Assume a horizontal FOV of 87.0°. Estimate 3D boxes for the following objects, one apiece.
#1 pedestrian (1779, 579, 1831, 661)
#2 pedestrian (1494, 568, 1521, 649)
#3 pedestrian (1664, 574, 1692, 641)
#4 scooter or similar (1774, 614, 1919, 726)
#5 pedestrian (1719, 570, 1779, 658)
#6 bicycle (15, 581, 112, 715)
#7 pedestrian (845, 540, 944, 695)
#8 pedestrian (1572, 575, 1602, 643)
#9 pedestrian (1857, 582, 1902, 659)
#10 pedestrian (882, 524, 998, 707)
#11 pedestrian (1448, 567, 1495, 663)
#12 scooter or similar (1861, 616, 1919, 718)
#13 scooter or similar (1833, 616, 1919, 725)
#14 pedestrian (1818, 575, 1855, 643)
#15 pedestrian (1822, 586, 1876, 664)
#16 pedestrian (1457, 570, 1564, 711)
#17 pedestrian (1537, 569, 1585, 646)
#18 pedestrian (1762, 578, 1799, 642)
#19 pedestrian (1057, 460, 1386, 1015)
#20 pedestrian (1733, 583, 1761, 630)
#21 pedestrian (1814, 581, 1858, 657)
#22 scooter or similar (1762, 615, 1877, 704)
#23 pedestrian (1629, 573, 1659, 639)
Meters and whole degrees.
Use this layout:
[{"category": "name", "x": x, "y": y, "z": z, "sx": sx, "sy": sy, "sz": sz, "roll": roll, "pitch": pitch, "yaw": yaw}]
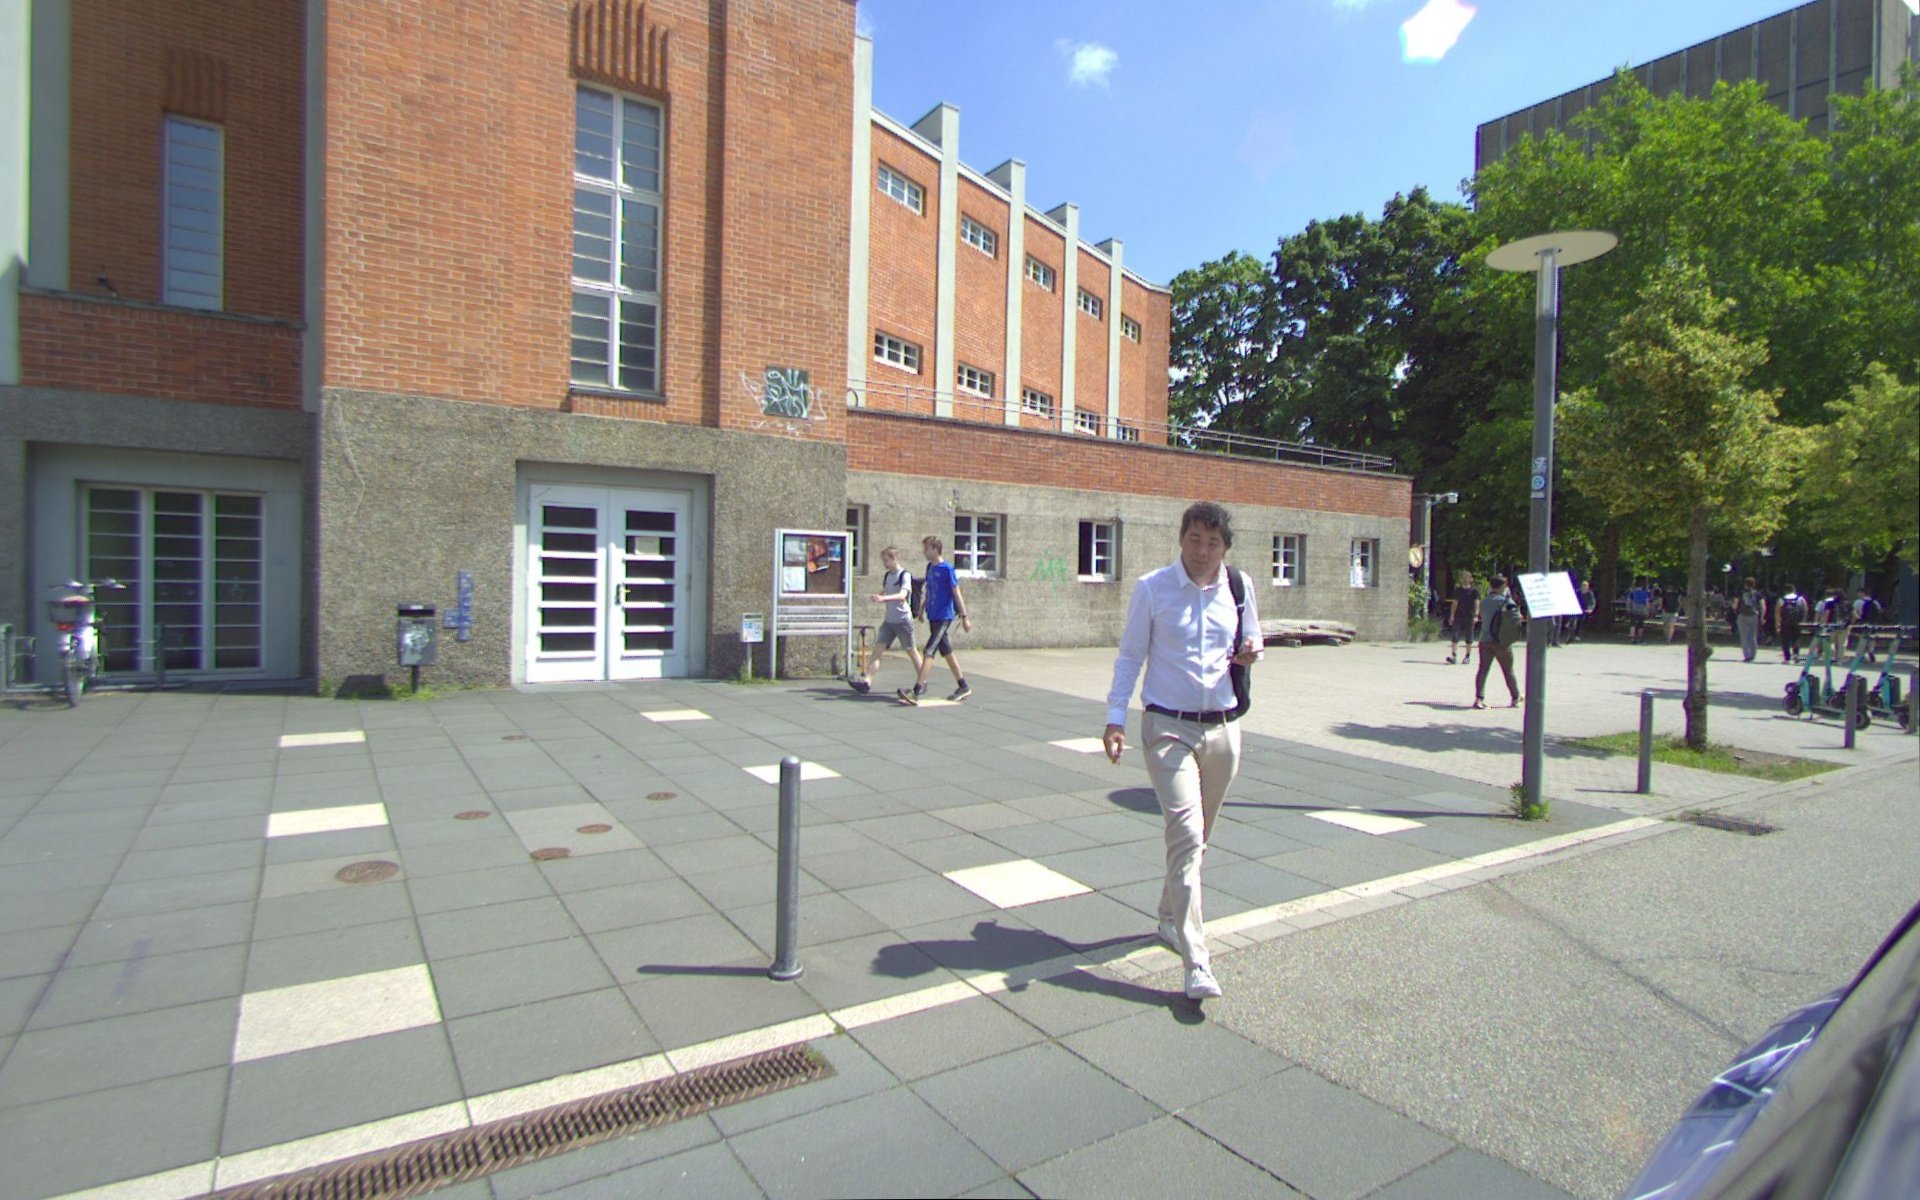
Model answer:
[{"category": "pedestrian", "x": 19.290, "y": 0.432, "z": 23.117, "sx": 0.776, "sy": 1.813, "sz": 0.706, "roll": 2, "pitch": 1, "yaw": 33}, {"category": "pedestrian", "x": 13.480, "y": 0.209, "z": 24.927, "sx": 0.560, "sy": 1.954, "sz": 0.881, "roll": 0, "pitch": -2, "yaw": 27}, {"category": "pedestrian", "x": 19.760, "y": 0.199, "z": 27.843, "sx": 0.539, "sy": 1.816, "sz": 0.635, "roll": 2, "pitch": 1, "yaw": 38}, {"category": "scooter or similar", "x": 10.913, "y": 0.825, "z": 12.507, "sx": 0.565, "sy": 1.245, "sz": 1.356, "roll": 2, "pitch": 1, "yaw": 1}, {"category": "pedestrian", "x": 18.441, "y": 0.310, "z": 23.686, "sx": 0.976, "sy": 1.970, "sz": 0.966, "roll": 2, "pitch": 1, "yaw": 34}, {"category": "bicycle", "x": -8.510, "y": 0.400, "z": 9.657, "sx": 0.448, "sy": 1.124, "sz": 1.937, "roll": 1, "pitch": 1, "yaw": -34}, {"category": "pedestrian", "x": -0.760, "y": 0.180, "z": 11.826, "sx": 0.985, "sy": 1.728, "sz": 0.586, "roll": -1, "pitch": 2, "yaw": -42}, {"category": "pedestrian", "x": 16.963, "y": 0.246, "z": 27.394, "sx": 0.664, "sy": 1.788, "sz": 0.789, "roll": 1, "pitch": -1, "yaw": 31}, {"category": "pedestrian", "x": 21.750, "y": 0.475, "z": 23.943, "sx": 0.618, "sy": 1.760, "sz": 0.766, "roll": 2, "pitch": 1, "yaw": 33}, {"category": "pedestrian", "x": -0.212, "y": 0.146, "z": 11.172, "sx": 1.091, "sy": 1.913, "sz": 0.665, "roll": -1, "pitch": 2, "yaw": -41}, {"category": "pedestrian", "x": 9.836, "y": 0.271, "z": 19.455, "sx": 0.584, "sy": 1.799, "sz": 0.787, "roll": 2, "pitch": 2, "yaw": 43}, {"category": "scooter or similar", "x": 12.413, "y": 0.866, "z": 12.970, "sx": 0.565, "sy": 1.248, "sz": 1.264, "roll": 2, "pitch": 1, "yaw": 1}, {"category": "scooter or similar", "x": 11.689, "y": 0.858, "z": 12.630, "sx": 0.565, "sy": 1.259, "sz": 1.143, "roll": 2, "pitch": 1, "yaw": 1}, {"category": "pedestrian", "x": 24.738, "y": 0.240, "z": 28.574, "sx": 0.634, "sy": 1.893, "sz": 0.532, "roll": 2, "pitch": 1, "yaw": 29}, {"category": "pedestrian", "x": 20.139, "y": 0.546, "z": 22.943, "sx": 0.745, "sy": 1.694, "sz": 0.836, "roll": 2, "pitch": 1, "yaw": 32}, {"category": "pedestrian", "x": 6.983, "y": 0.475, "z": 12.844, "sx": 1.059, "sy": 1.696, "sz": 0.785, "roll": 0, "pitch": 2, "yaw": -36}, {"category": "pedestrian", "x": 15.331, "y": 0.190, "z": 25.822, "sx": 0.657, "sy": 1.911, "sz": 0.972, "roll": 1, "pitch": -2, "yaw": 2}, {"category": "pedestrian", "x": 22.661, "y": 0.275, "z": 27.964, "sx": 0.634, "sy": 1.729, "sz": 0.708, "roll": 2, "pitch": 1, "yaw": 29}, {"category": "pedestrian", "x": 0.935, "y": 0.458, "z": 3.950, "sx": 0.898, "sy": 1.871, "sz": 1.026, "roll": 2, "pitch": 2, "yaw": -3}, {"category": "pedestrian", "x": 26.703, "y": 0.218, "z": 34.349, "sx": 0.635, "sy": 1.577, "sz": 0.568, "roll": 2, "pitch": 1, "yaw": 32}, {"category": "pedestrian", "x": 21.205, "y": 0.447, "z": 24.506, "sx": 0.597, "sy": 1.774, "sz": 0.757, "roll": 2, "pitch": 1, "yaw": 28}, {"category": "scooter or similar", "x": 12.259, "y": 0.834, "z": 14.435, "sx": 1.446, "sy": 1.194, "sz": 0.577, "roll": 1, "pitch": 1, "yaw": -20}, {"category": "pedestrian", "x": 19.077, "y": 0.158, "z": 28.238, "sx": 0.564, "sy": 1.816, "sz": 0.635, "roll": 2, "pitch": 1, "yaw": 42}]
